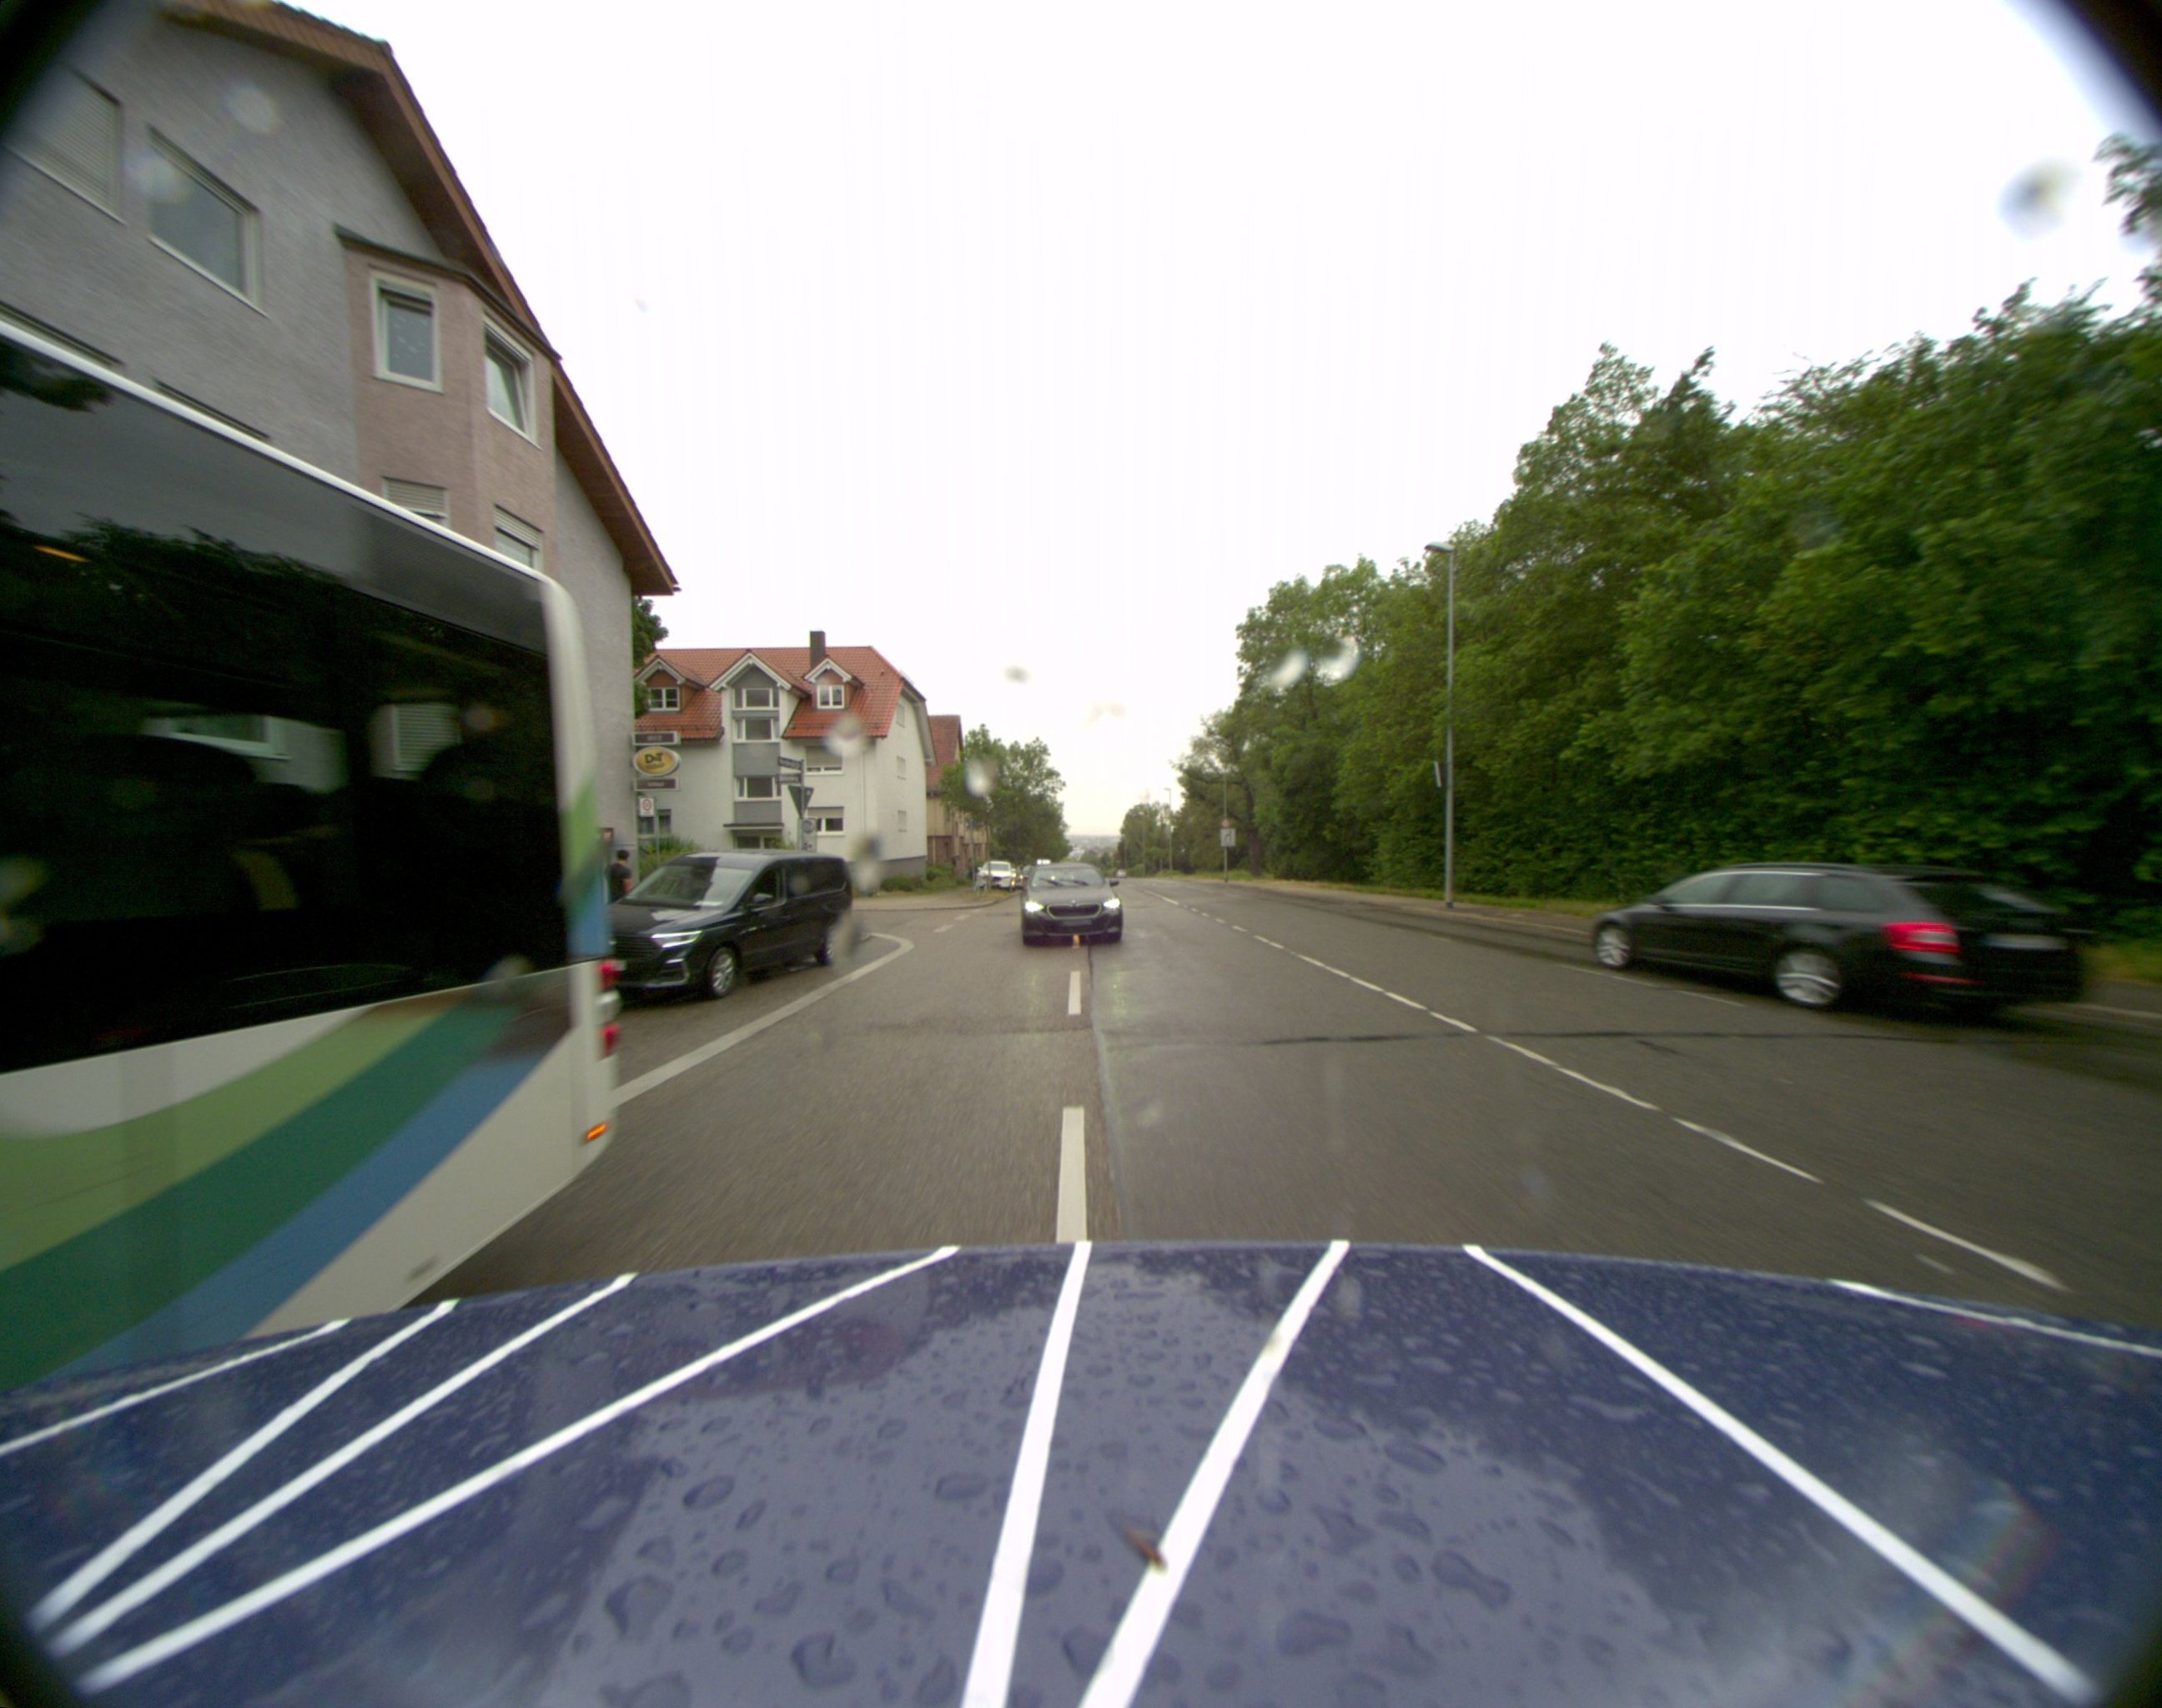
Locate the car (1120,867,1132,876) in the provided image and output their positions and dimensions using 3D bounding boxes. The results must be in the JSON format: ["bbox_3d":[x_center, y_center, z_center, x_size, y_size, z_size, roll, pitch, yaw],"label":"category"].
[{"bbox_3d":[7.975,3.066,133.740,1.890,1.587,4.364,0,0,1],"label":"car"}]

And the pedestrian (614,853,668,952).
[{"bbox_3d":[-8.135,0.883,14.057,0.619,1.783,0.576,-1,0,1],"label":"pedestrian"}]

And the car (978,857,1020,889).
[{"bbox_3d":[-4.512,1.035,42.172,1.927,1.651,4.483,0,-1,-1],"label":"car"}]

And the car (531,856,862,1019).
[{"bbox_3d":[-4.997,0.947,10.830,1.847,1.797,4.687,-1,0,7],"label":"car"}]

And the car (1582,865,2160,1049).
[{"bbox_3d":[7.890,0.875,8.385,1.748,1.423,4.388,1,0,-1],"label":"car"}]

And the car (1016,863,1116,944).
[{"bbox_3d":[-0.282,0.959,16.555,1.855,1.461,4.483,1,0,0],"label":"car"}]
